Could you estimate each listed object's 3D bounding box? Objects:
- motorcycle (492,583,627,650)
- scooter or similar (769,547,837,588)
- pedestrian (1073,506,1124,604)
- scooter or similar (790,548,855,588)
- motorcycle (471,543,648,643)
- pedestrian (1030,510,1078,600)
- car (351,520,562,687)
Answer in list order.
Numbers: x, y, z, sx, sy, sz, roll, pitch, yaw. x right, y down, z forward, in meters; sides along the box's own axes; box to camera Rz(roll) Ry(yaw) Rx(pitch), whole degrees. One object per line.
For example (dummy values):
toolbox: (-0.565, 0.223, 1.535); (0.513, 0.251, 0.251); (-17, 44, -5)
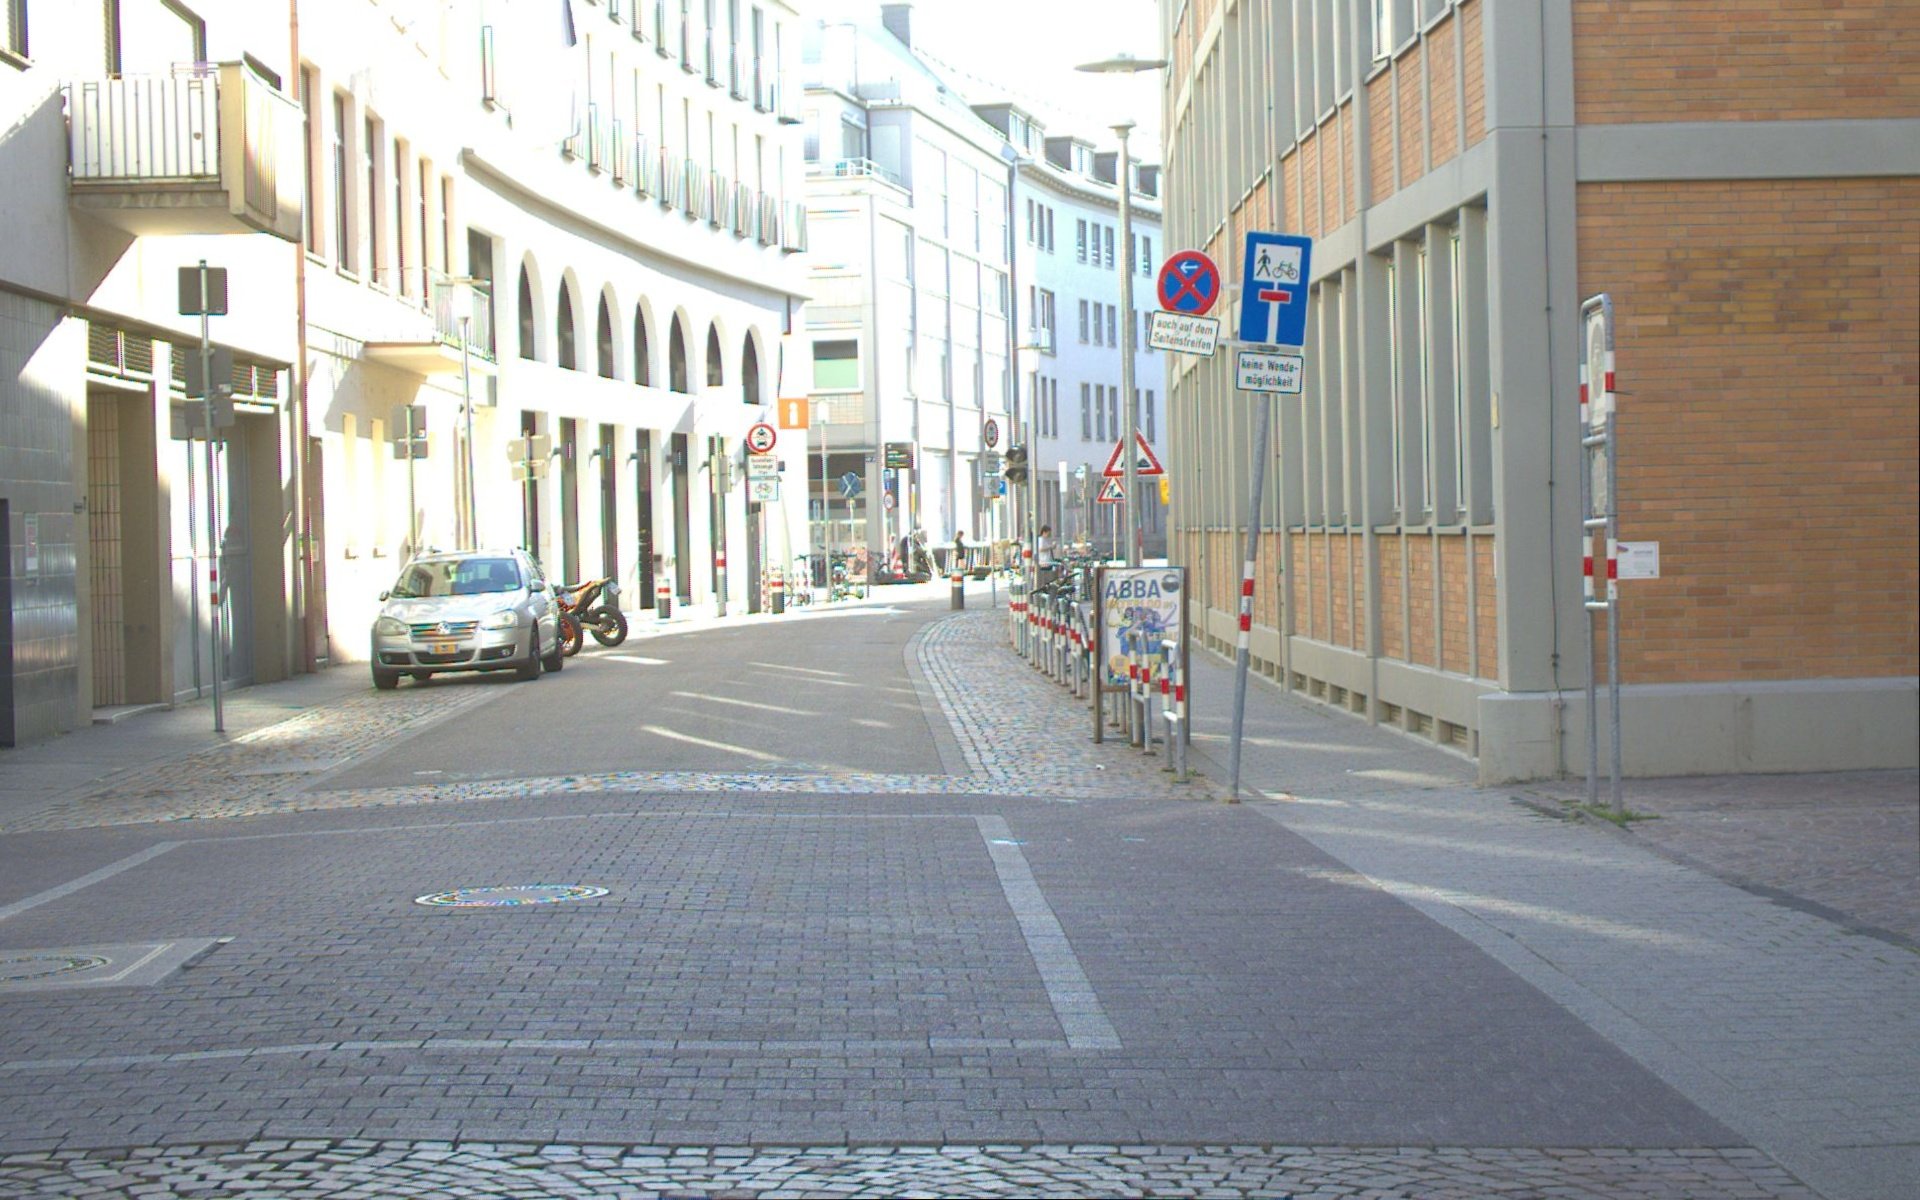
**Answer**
motorcycle: (-5.284, 0.212, 45.387); (1.691, 0.856, 0.594); (1, 0, 3)
scooter or similar: (-3.673, -0.775, 80.555); (0.526, 0.925, 2.224); (1, 2, 28)
pedestrian: (2.661, -0.867, 66.097); (0.659, 1.862, 0.761); (0, 0, -32)
scooter or similar: (-3.336, -0.787, 83.653); (0.526, 0.925, 2.224); (1, 2, 28)
motorcycle: (-5.706, -0.106, 49.092); (2.390, 1.312, 0.862); (-2, 1, -2)
pedestrian: (1.954, -0.939, 71.524); (0.659, 1.862, 0.786); (0, 0, -32)
car: (-5.479, -0.001, 37.793); (1.736, 1.600, 3.533); (-5, 2, -1)
